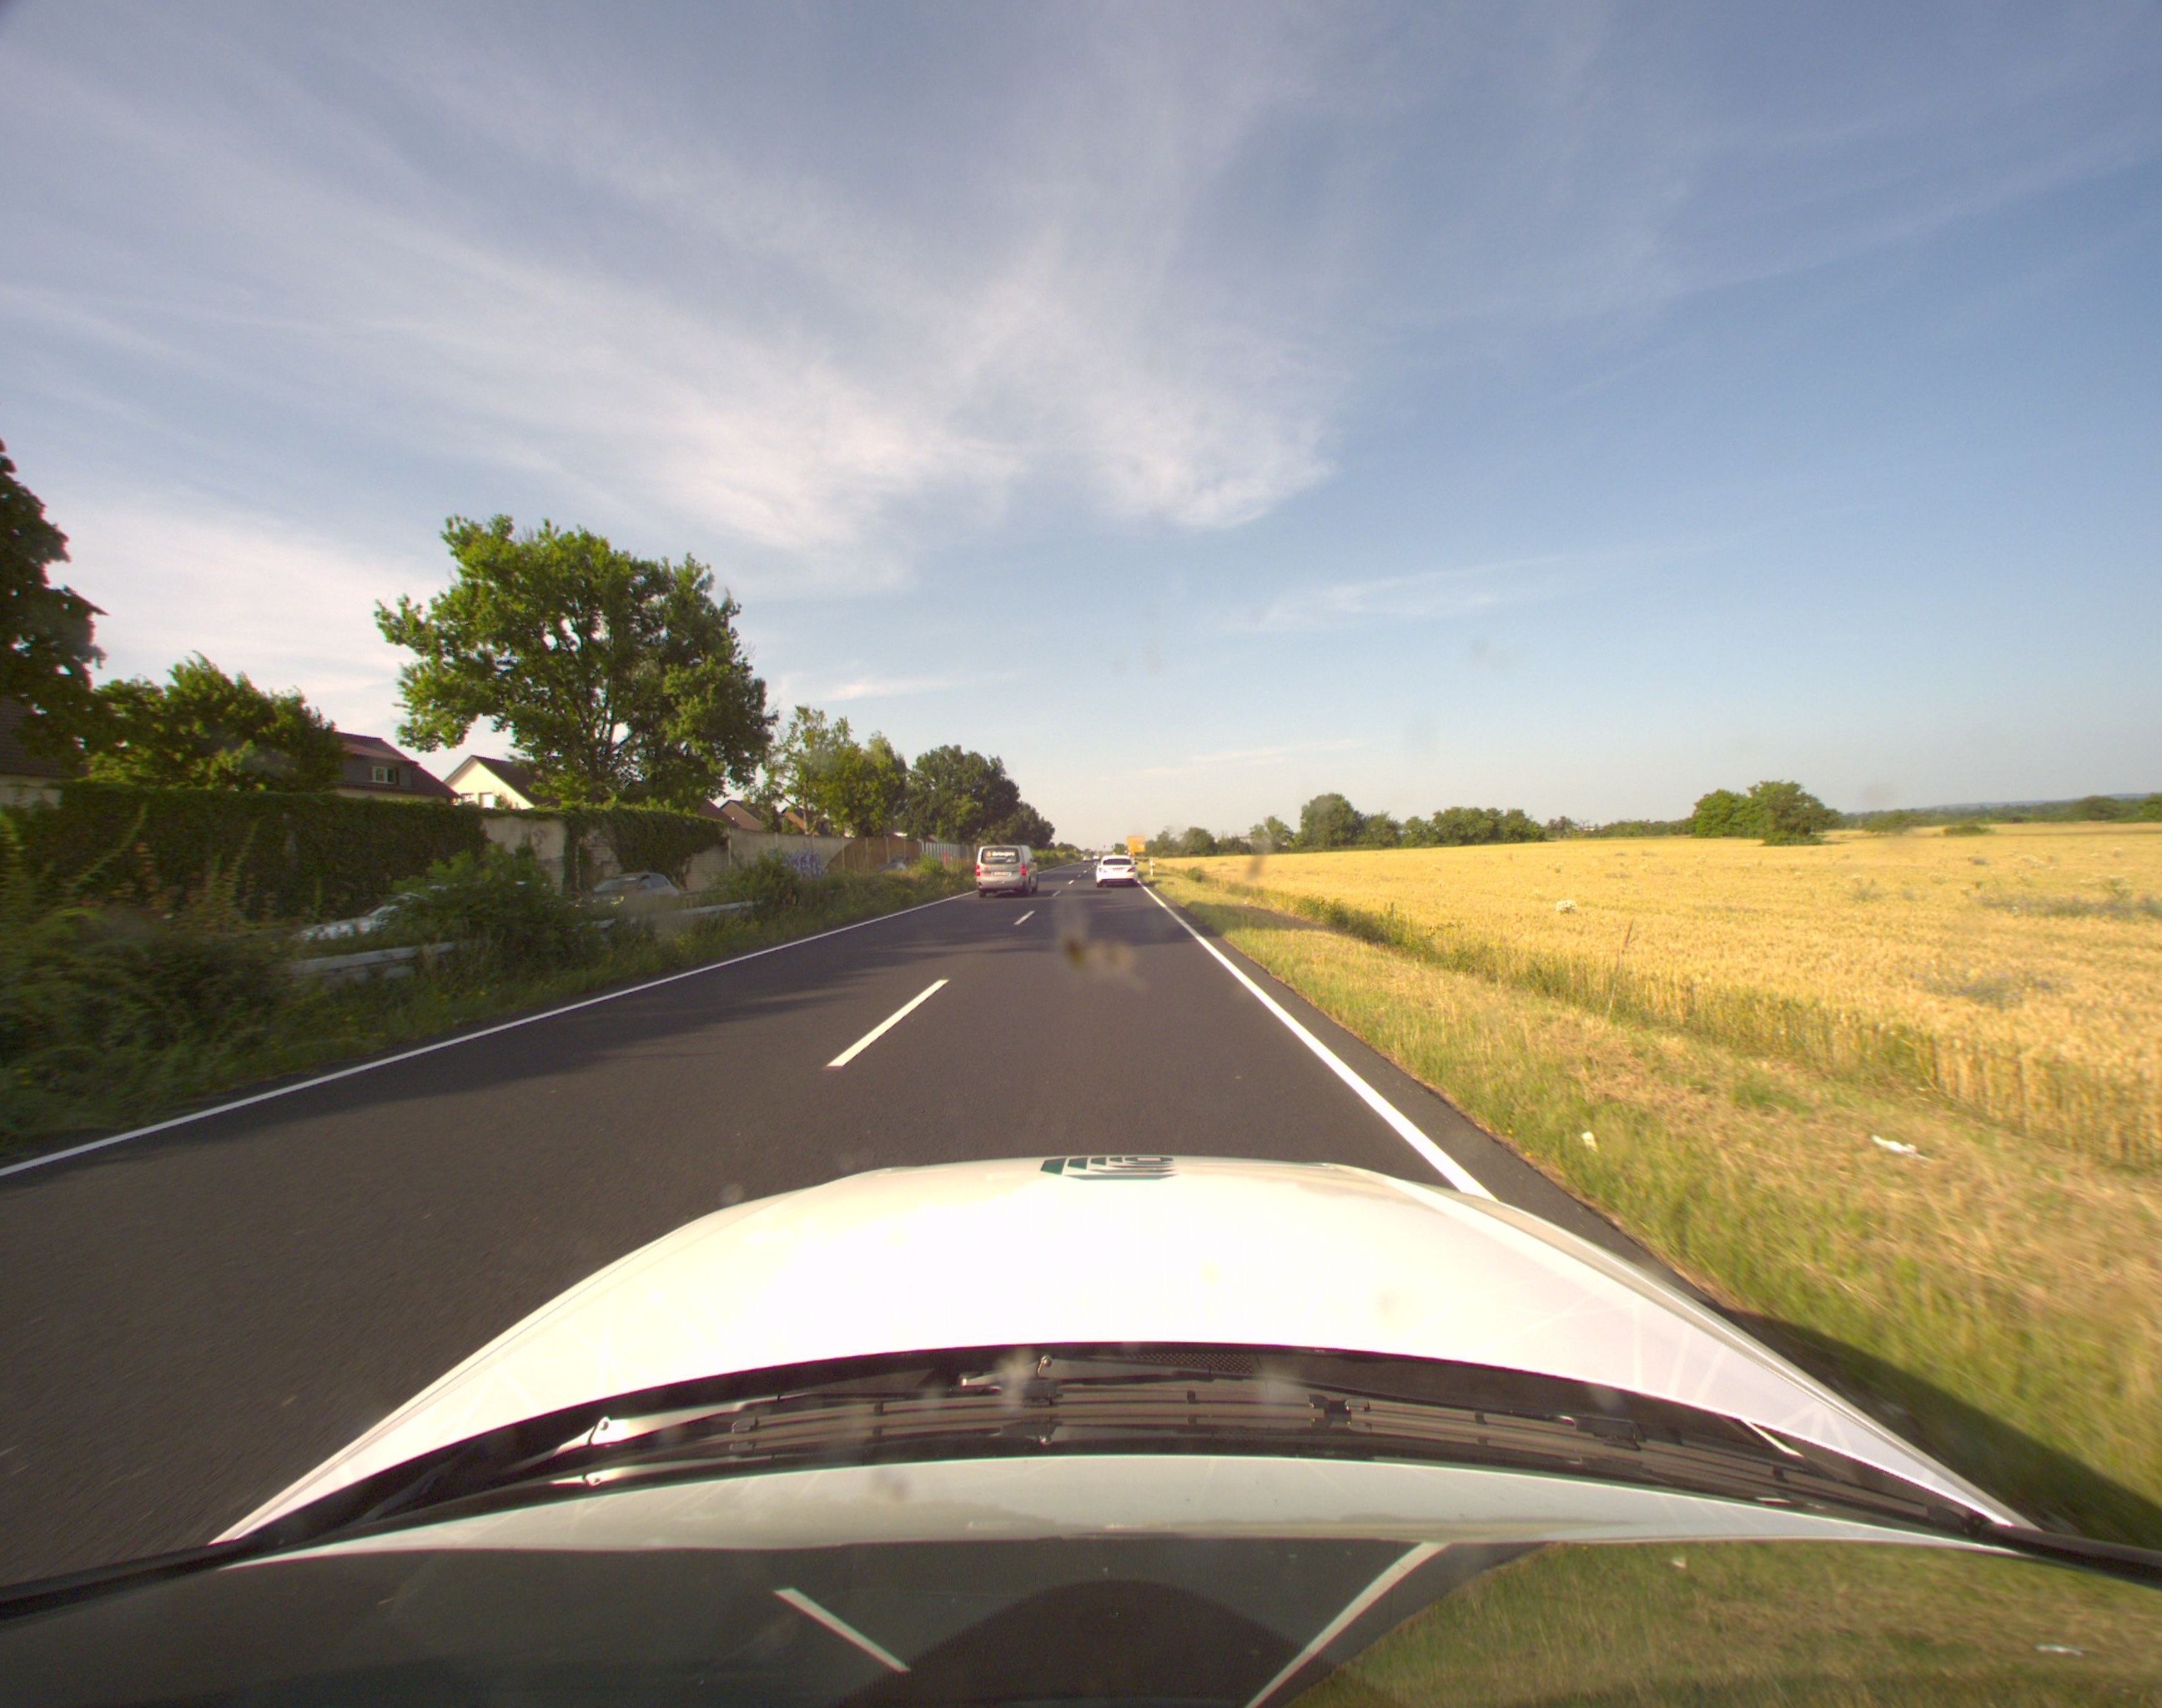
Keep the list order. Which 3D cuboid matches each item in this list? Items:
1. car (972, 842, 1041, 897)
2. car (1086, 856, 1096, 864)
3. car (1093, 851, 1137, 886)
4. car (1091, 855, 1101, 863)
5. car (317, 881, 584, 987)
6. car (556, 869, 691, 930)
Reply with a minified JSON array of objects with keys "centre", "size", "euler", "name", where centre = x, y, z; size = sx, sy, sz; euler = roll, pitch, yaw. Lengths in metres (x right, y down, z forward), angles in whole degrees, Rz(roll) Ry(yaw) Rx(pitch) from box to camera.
[{"centre":[-2.709,0.530,30.865],"size":[2.018,1.892,4.960],"euler":[0,0,1],"name":"car"},{"centre":[1.729,1.042,141.657],"size":[1.710,1.492,3.587],"euler":[0,0,2],"name":"car"},{"centre":[1.572,0.651,37.688],"size":[1.887,1.509,4.002],"euler":[-1,-1,2],"name":"car"},{"centre":[3.089,0.962,168.394],"size":[1.871,1.651,3.664],"euler":[0,0,1],"name":"car"},{"centre":[-10.636,1.265,14.124],"size":[1.687,1.488,3.674],"euler":[0,0,2],"name":"car"},{"centre":[-14.323,1.367,25.805],"size":[1.930,1.728,4.001],"euler":[0,0,2],"name":"car"}]
